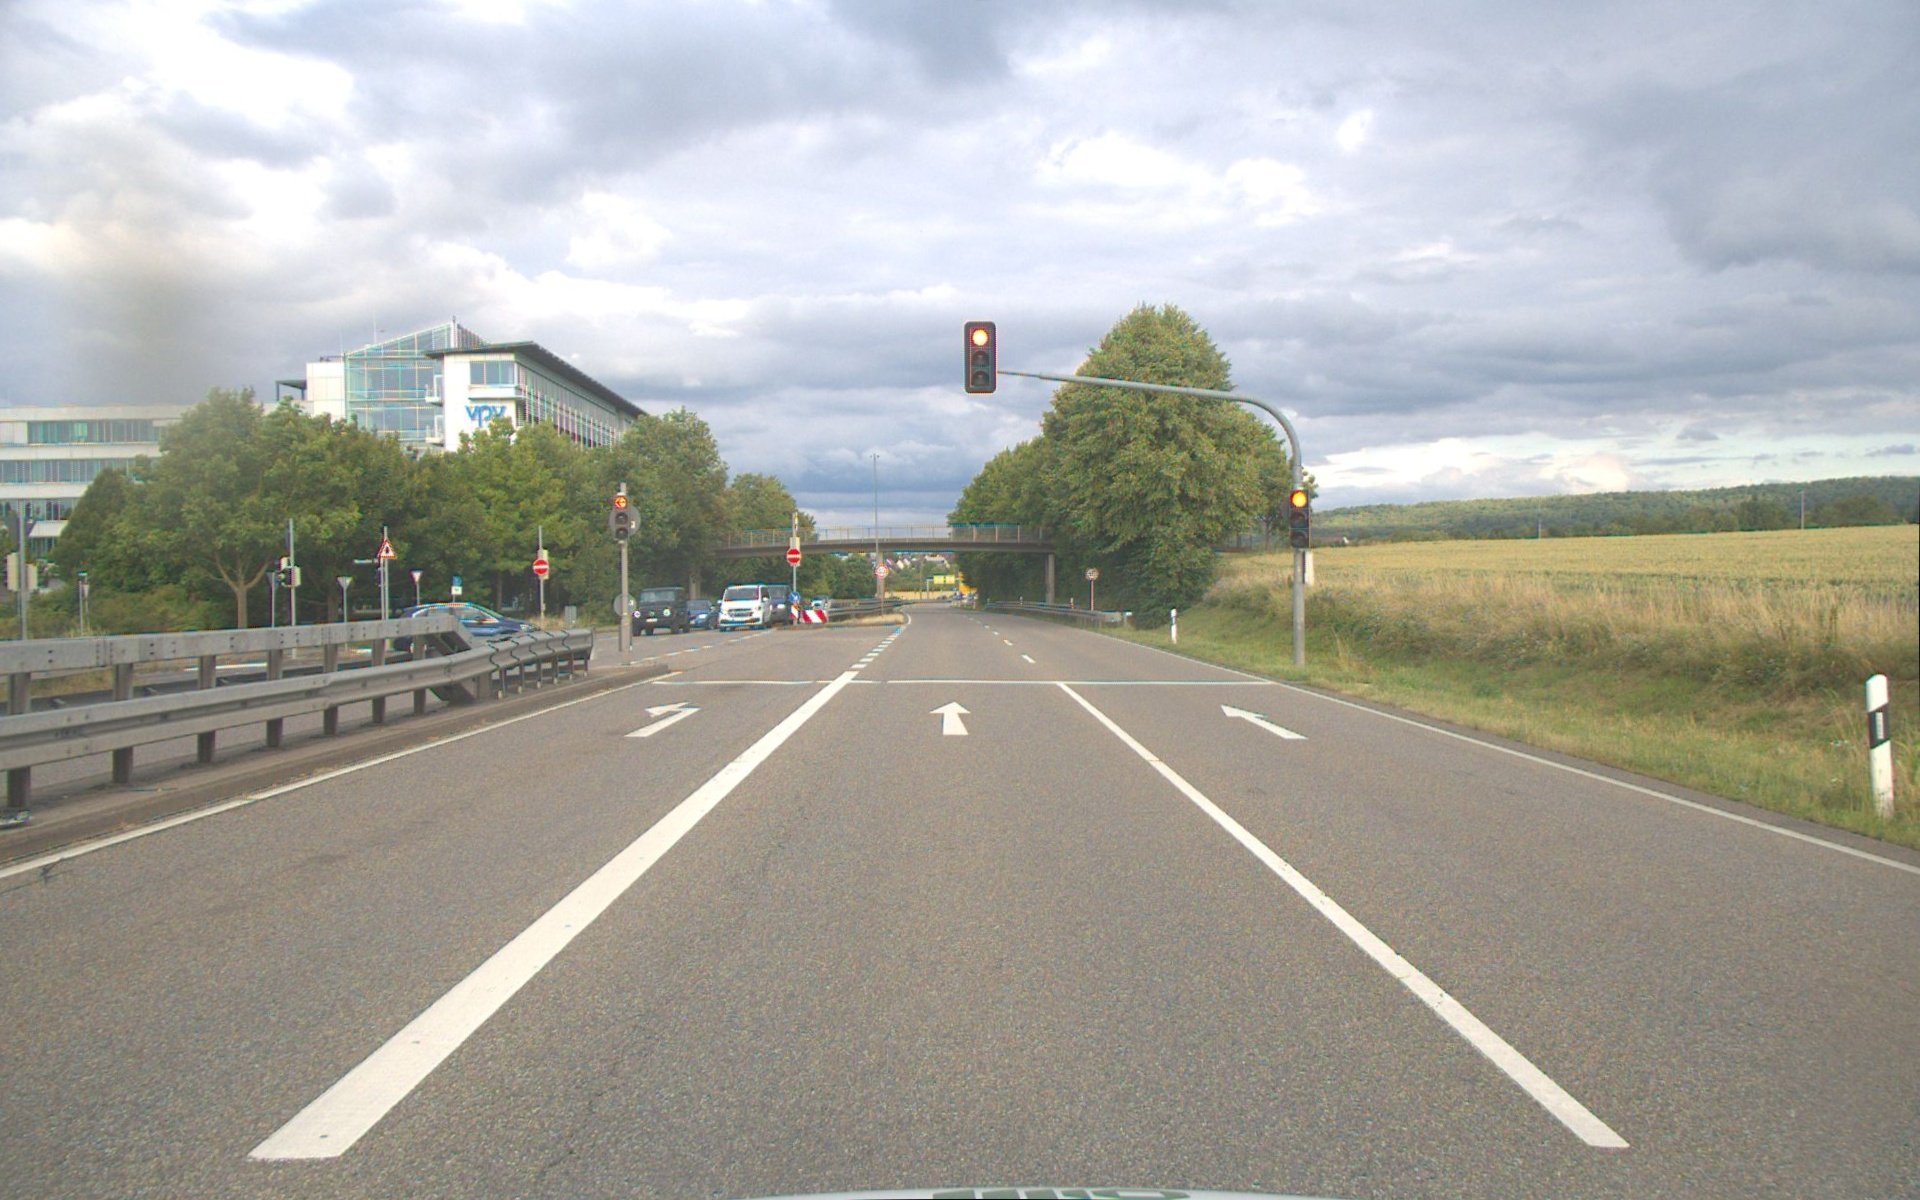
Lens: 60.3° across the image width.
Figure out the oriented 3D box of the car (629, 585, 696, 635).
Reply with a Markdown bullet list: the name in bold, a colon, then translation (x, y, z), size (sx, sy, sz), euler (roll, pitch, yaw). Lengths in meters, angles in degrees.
- **car**: translation (-12.759, 0.434, 71.214), size (2.041, 2.049, 5.214), euler (1, 0, -2)

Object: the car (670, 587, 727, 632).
- **car**: translation (-12.394, 0.456, 78.719), size (2.041, 2.049, 5.214), euler (1, 0, -2)

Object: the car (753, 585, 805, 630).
- **car**: translation (-8.629, 0.341, 79.108), size (2.041, 2.049, 5.214), euler (1, 0, -2)

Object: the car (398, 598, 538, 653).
- **car**: translation (-14.682, 0.749, 49.567), size (3.920, 1.579, 1.879), euler (1, 0, -14)

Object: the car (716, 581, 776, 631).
- **car**: translation (-9.200, 0.272, 71.366), size (2.041, 2.049, 5.214), euler (1, 0, -2)
